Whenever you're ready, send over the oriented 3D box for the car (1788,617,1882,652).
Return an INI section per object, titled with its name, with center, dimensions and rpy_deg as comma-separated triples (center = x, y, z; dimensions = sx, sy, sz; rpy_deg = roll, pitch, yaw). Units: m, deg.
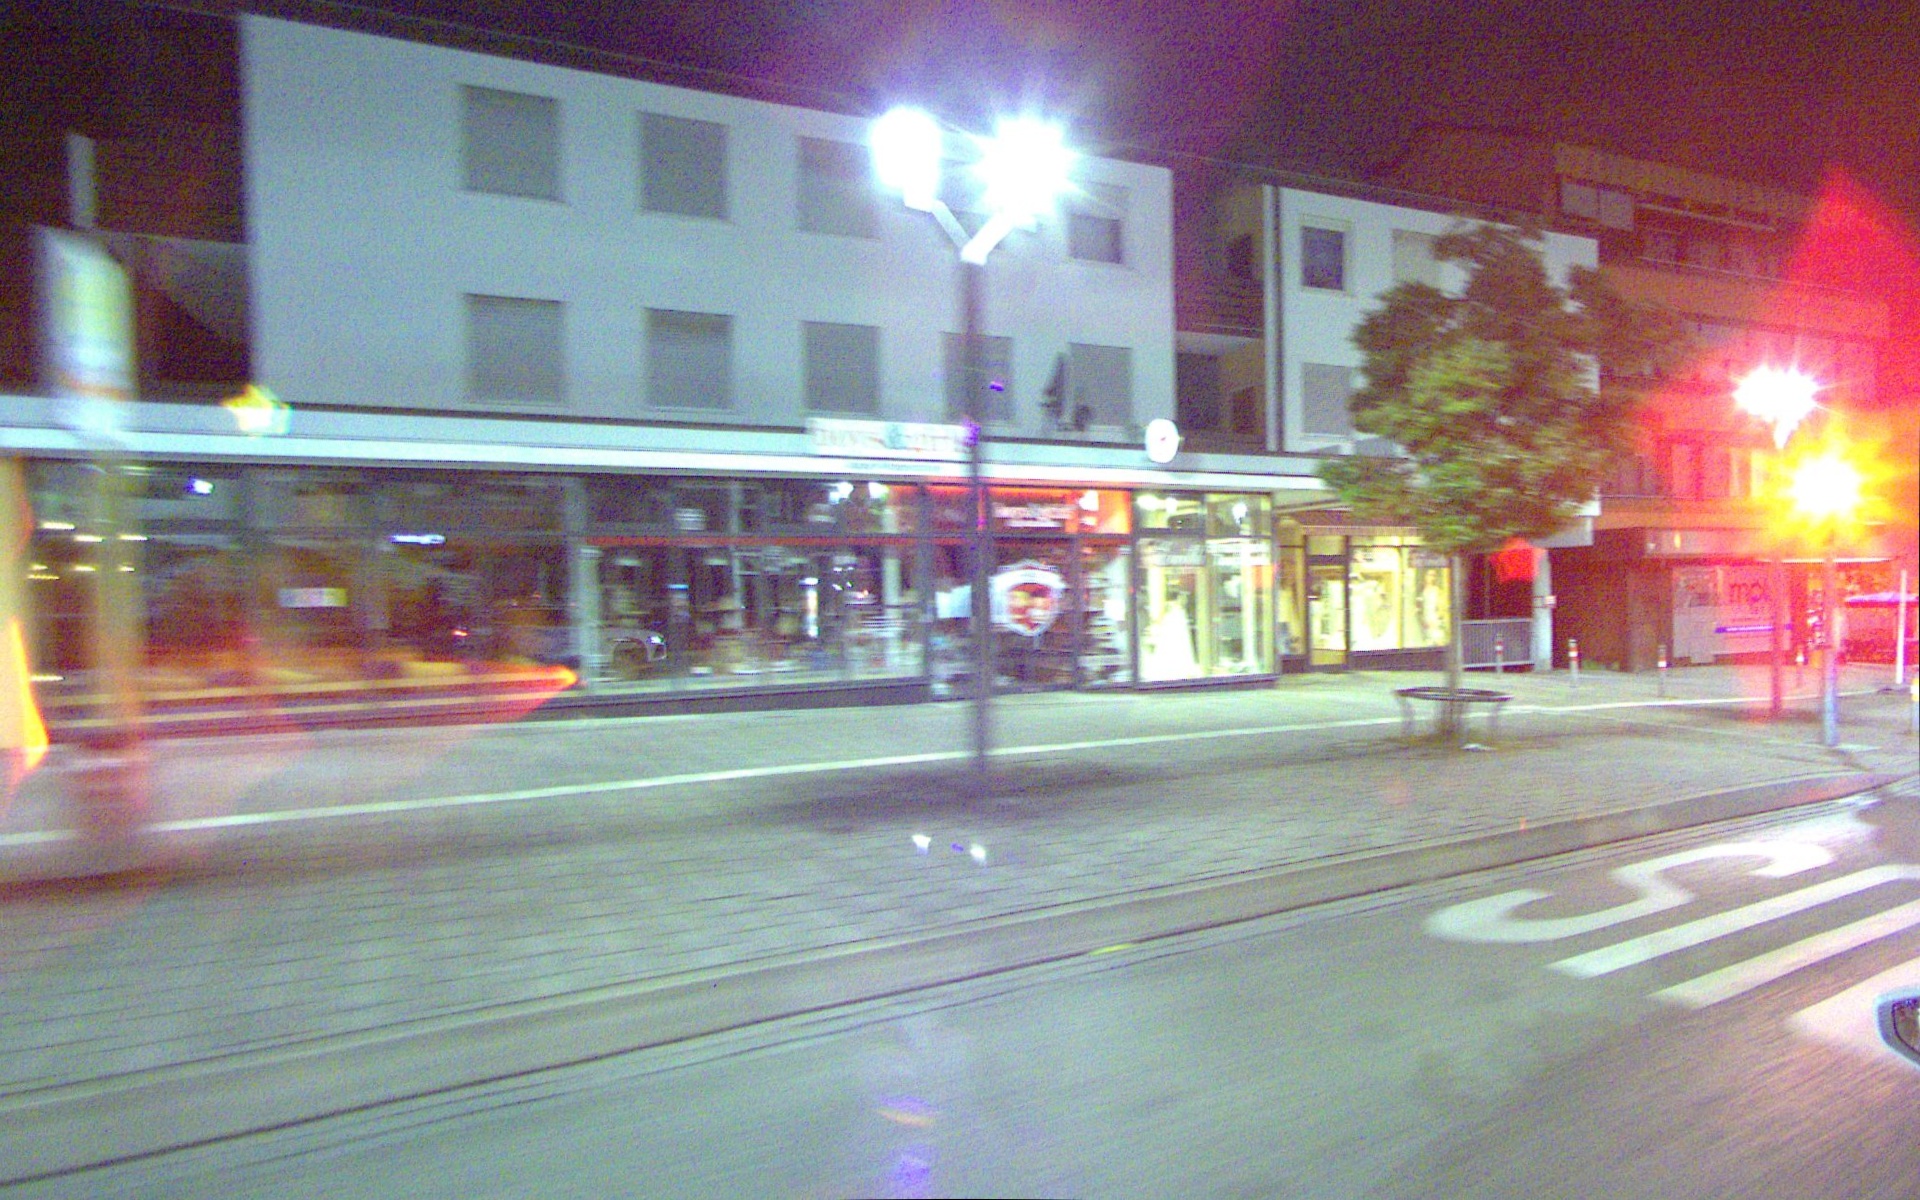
[car]
center = 44.718, 1.717, 51.418
dimensions = 1.798, 1.639, 3.767
rpy_deg = 2, -1, 7
